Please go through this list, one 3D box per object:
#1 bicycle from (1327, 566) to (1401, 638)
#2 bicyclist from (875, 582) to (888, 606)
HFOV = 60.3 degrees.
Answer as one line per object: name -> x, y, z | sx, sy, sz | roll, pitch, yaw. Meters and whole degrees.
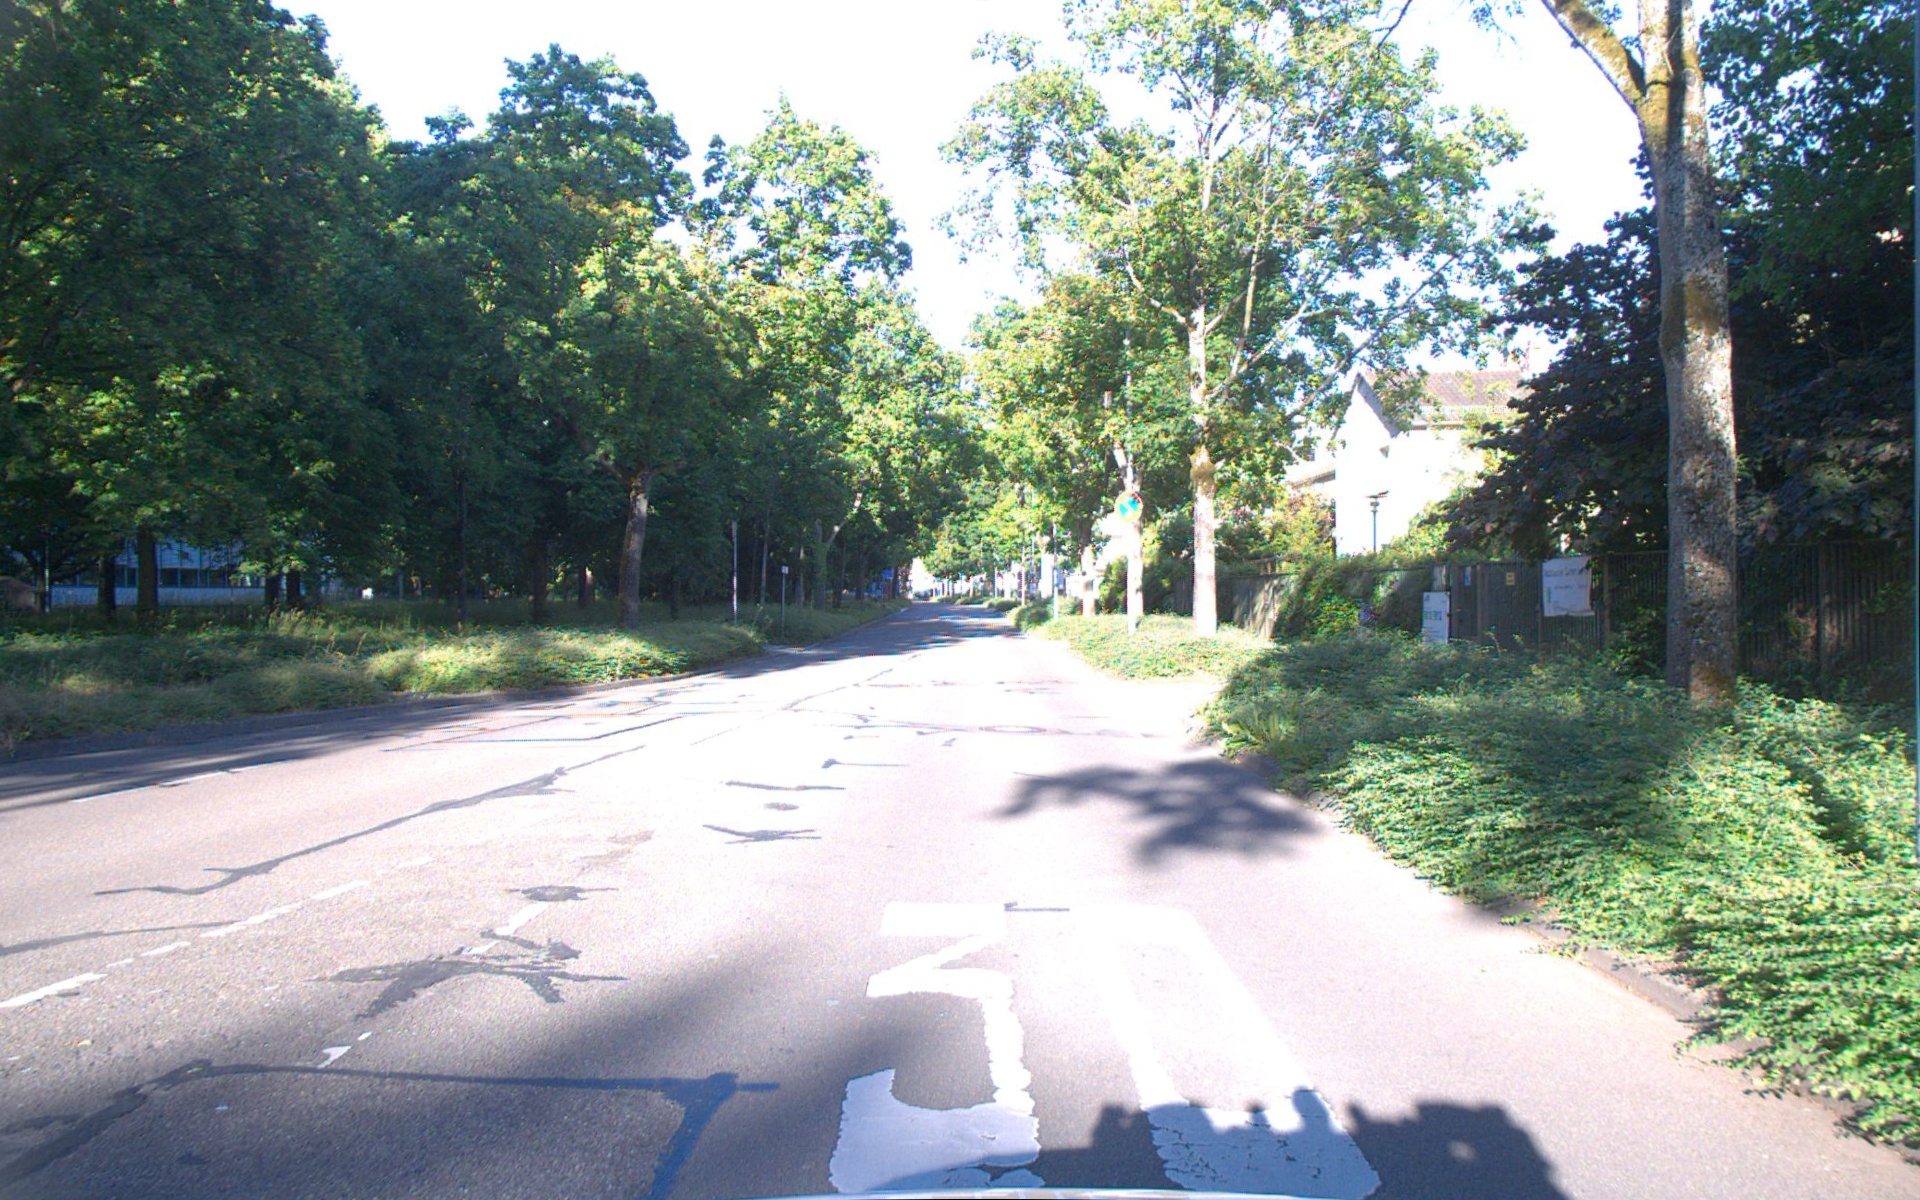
bicycle -> 7.416, 0.019, 30.250 | 0.866, 1.221, 2.325 | -2, 0, 24
bicyclist -> -5.644, -0.436, 118.292 | 0.849, 1.669, 1.115 | 1, 1, 0
